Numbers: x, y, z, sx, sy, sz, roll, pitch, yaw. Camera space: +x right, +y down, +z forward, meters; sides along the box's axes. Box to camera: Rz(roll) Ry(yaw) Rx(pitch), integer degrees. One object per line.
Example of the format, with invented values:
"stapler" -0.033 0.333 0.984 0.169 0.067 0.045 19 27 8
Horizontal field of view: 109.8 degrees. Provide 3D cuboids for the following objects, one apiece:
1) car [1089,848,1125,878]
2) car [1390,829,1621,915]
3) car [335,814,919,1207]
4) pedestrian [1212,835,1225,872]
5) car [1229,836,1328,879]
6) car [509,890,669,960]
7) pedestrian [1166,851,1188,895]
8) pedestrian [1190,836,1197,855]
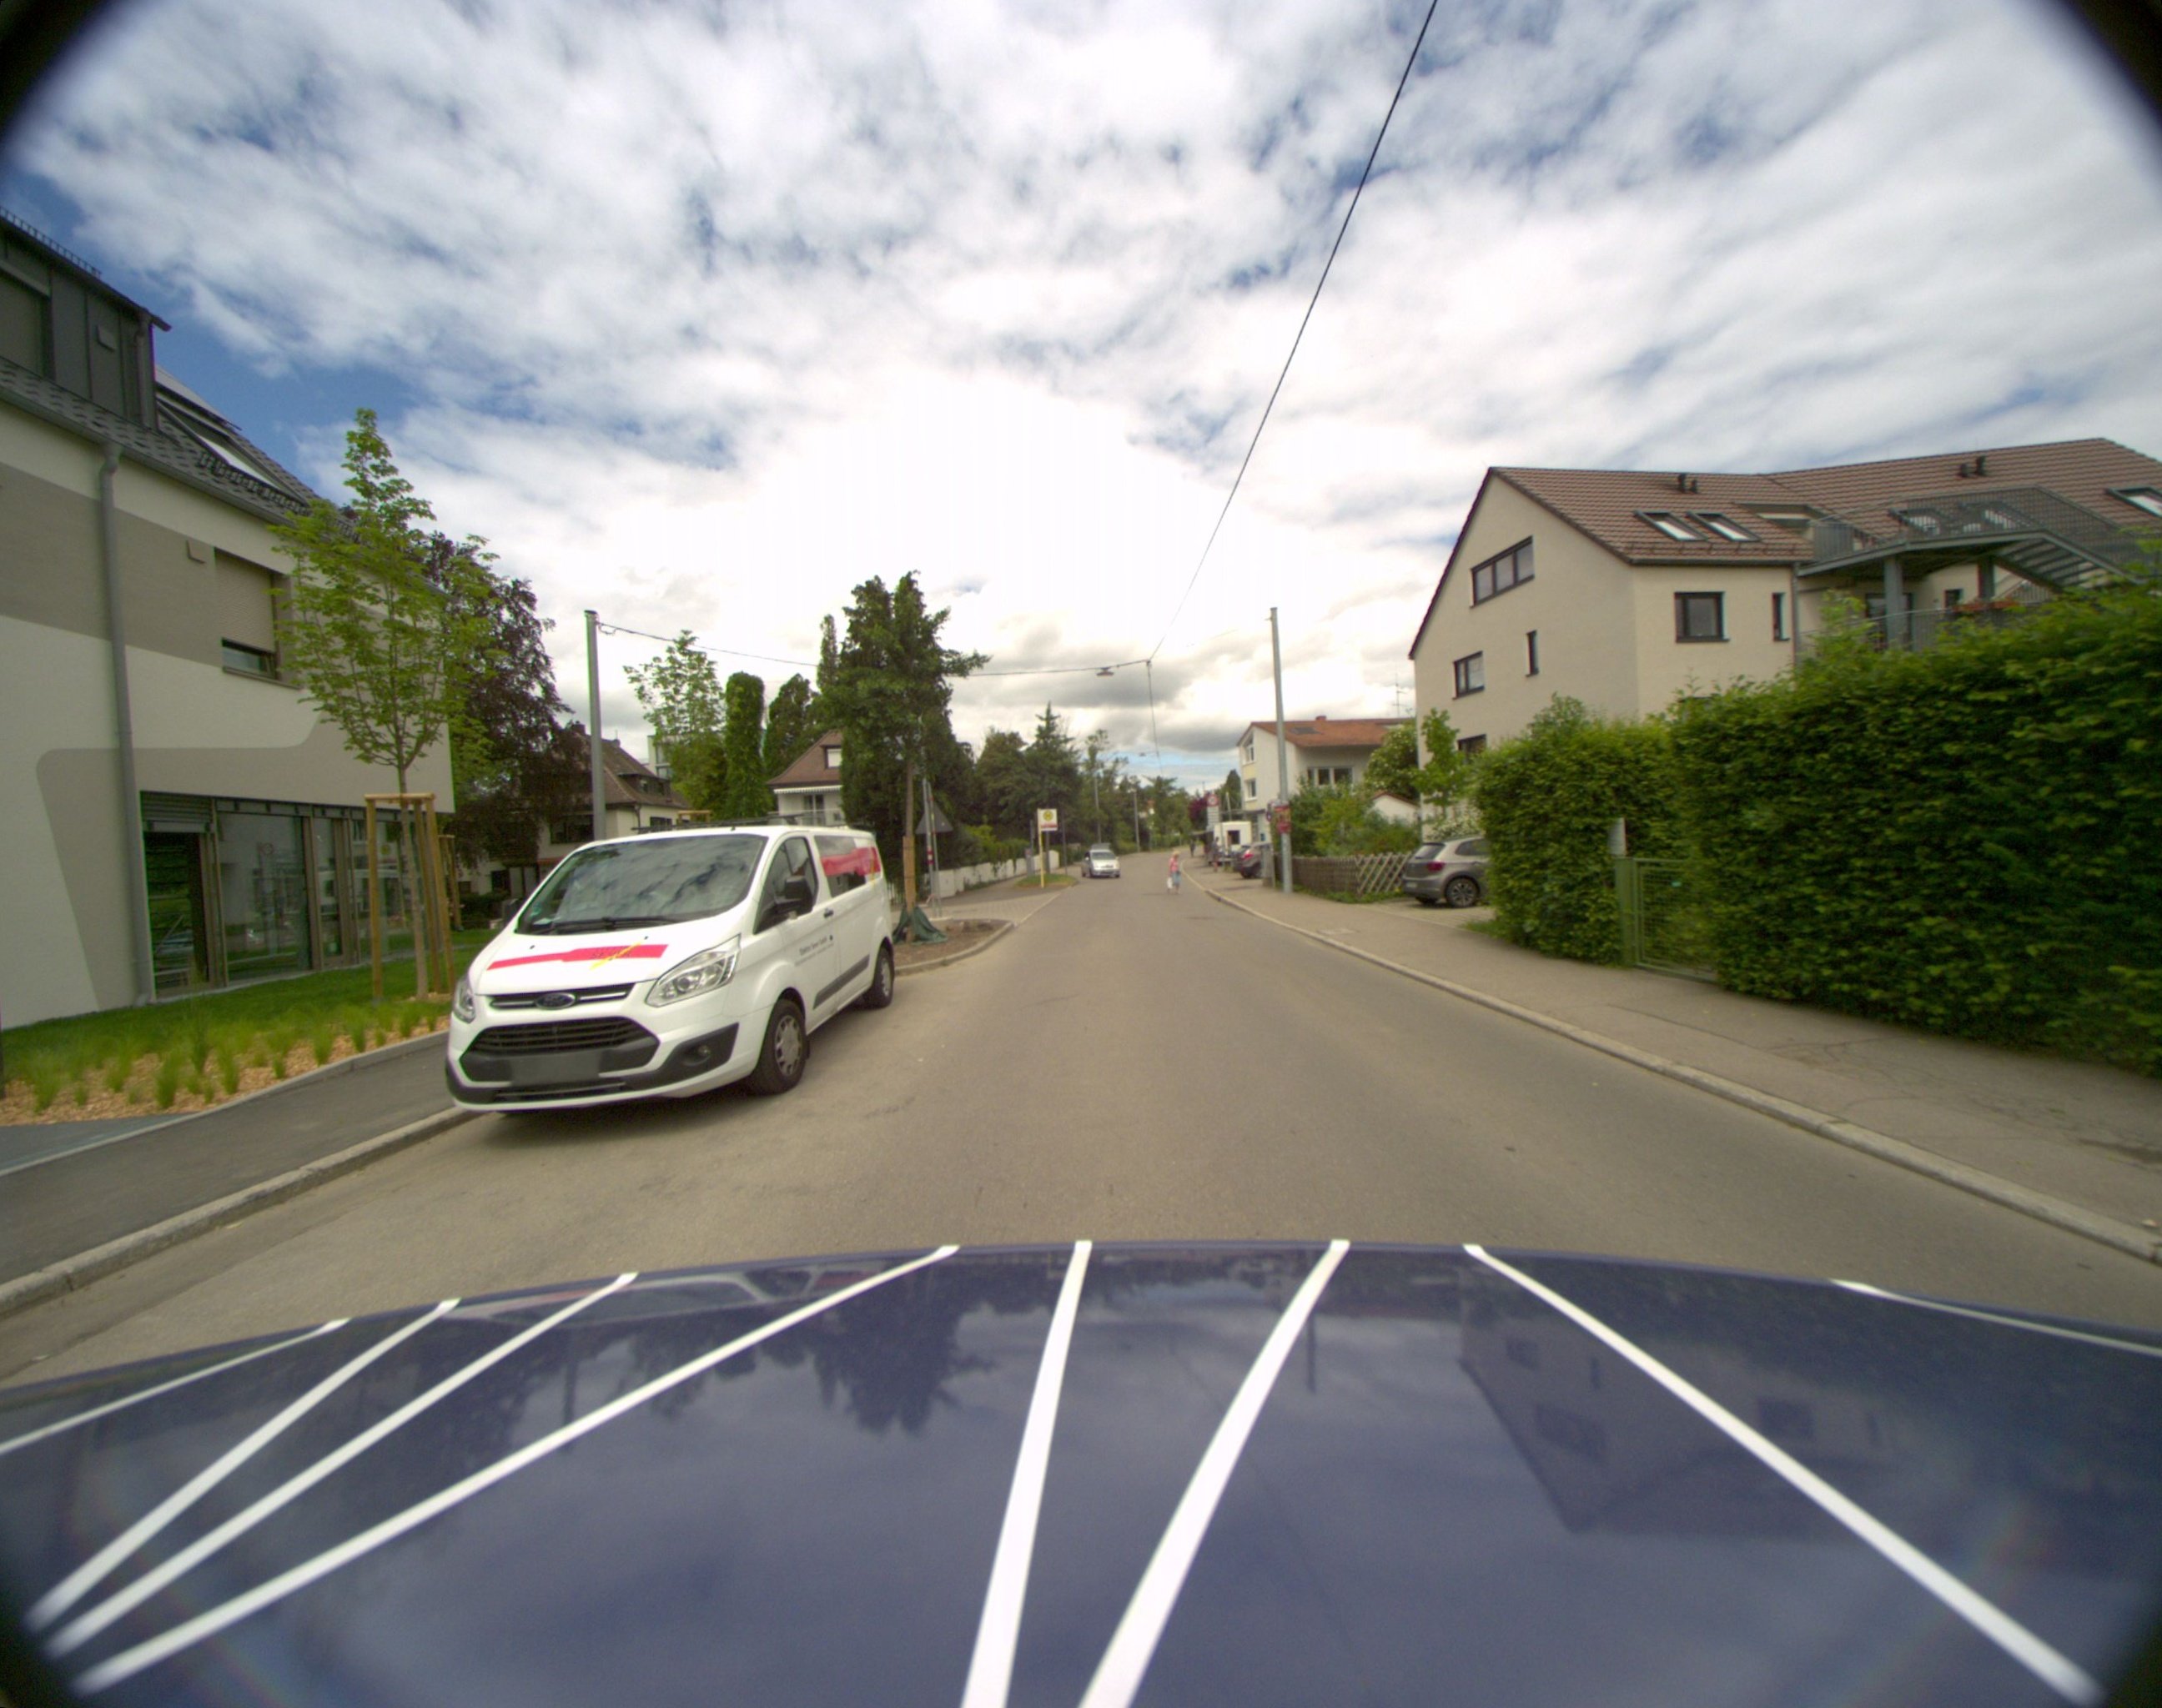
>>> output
"car" 1.447 0.493 43.488 1.726 1.559 3.926 -4 1 -1
"car" 8.711 0.349 15.839 3.760 1.484 1.776 -3 1 1
"car" -3.091 0.847 6.993 1.999 2.002 5.565 -5 1 -2
"pedestrian" 7.469 -0.024 41.279 0.536 1.940 0.528 -3 1 8
"car" 9.074 0.139 35.169 3.997 1.718 1.885 -3 1 1
"car" -16.154 2.289 25.166 3.844 1.587 1.874 -8 2 -8
"pedestrian" 3.588 0.708 28.422 0.619 1.590 0.608 -3 1 -3
"pedestrian" 11.488 -0.887 77.670 0.527 1.940 0.537 -3 1 9
